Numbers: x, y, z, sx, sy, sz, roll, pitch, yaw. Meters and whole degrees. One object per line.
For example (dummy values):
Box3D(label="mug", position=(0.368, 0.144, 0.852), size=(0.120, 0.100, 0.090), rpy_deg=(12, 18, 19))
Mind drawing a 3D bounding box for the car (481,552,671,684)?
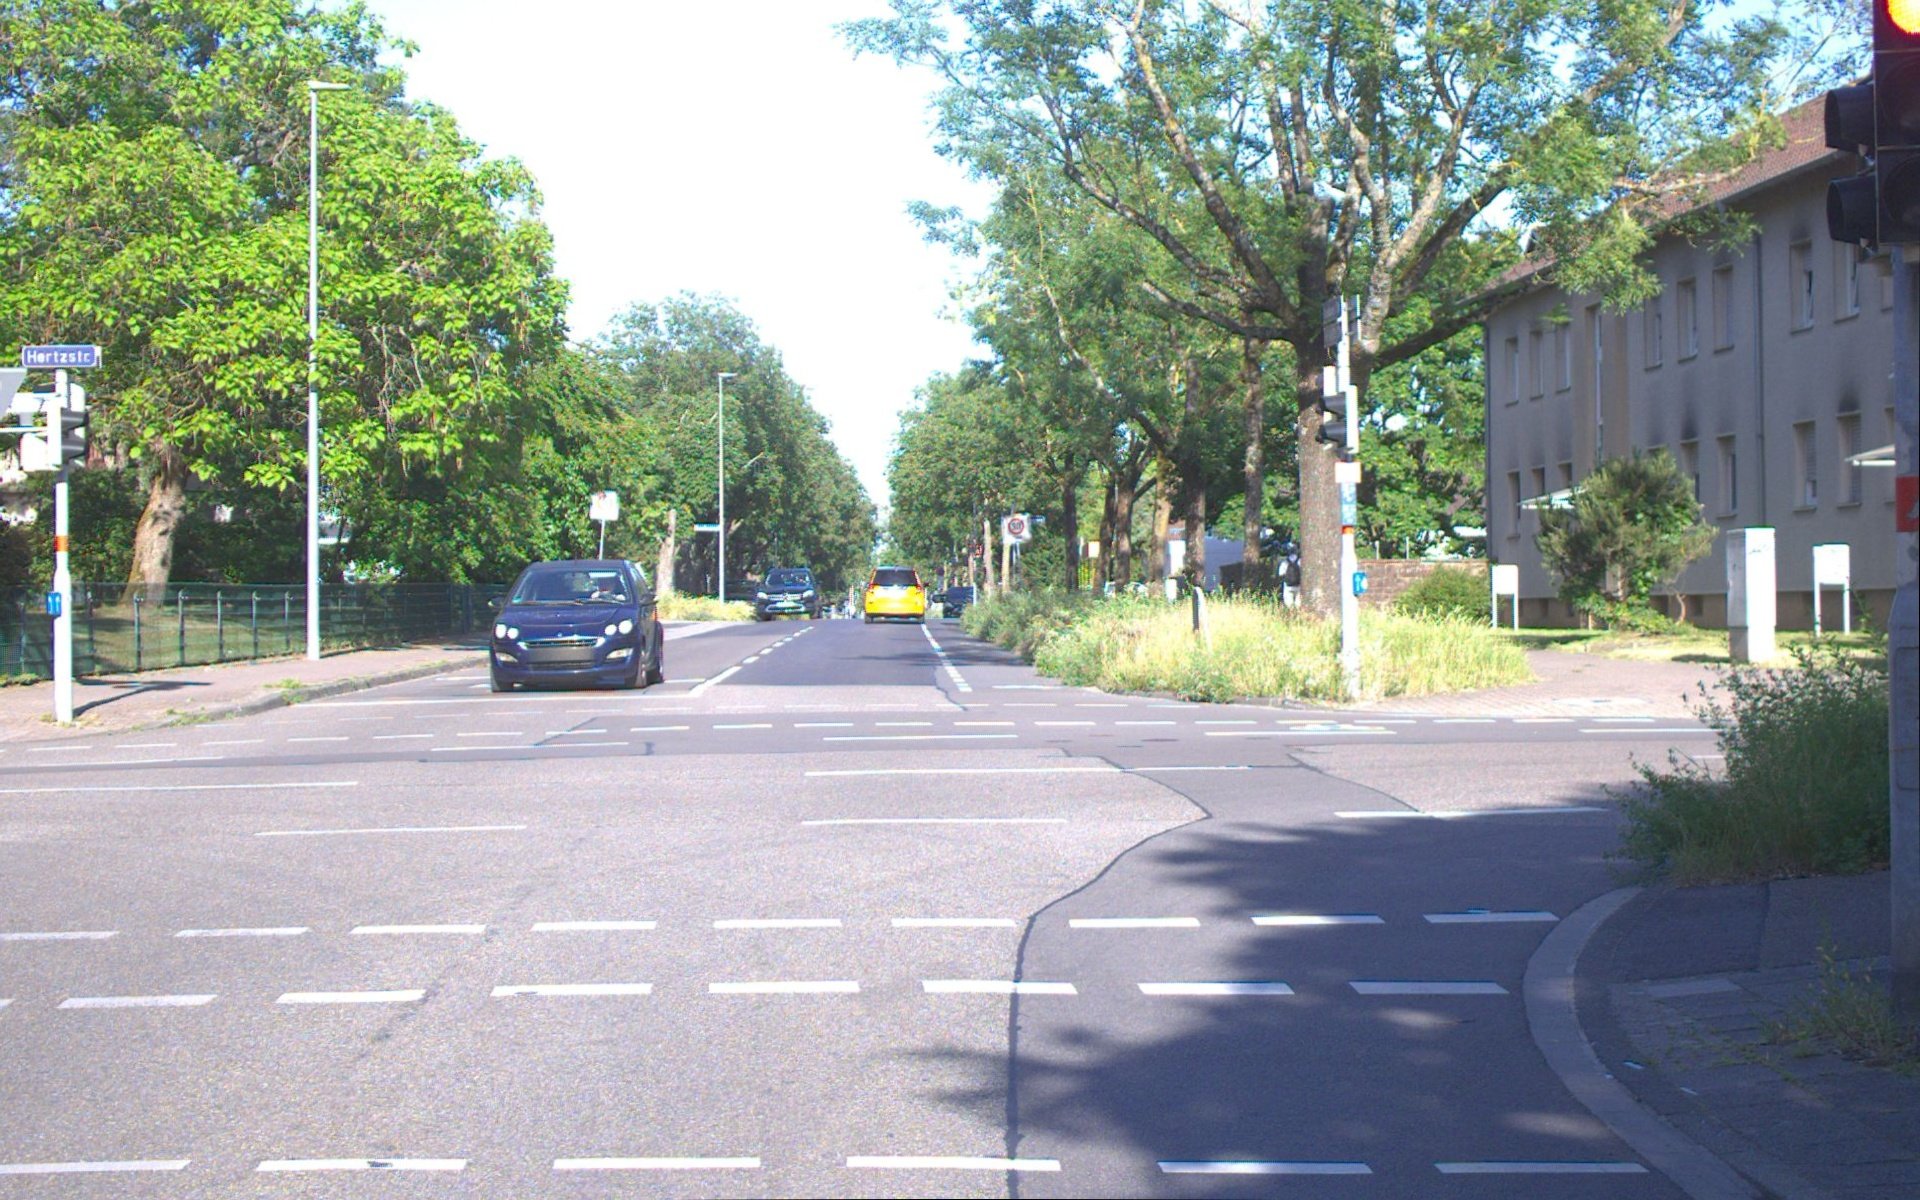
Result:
Box3D(label="car", position=(-4.266, 0.174, 38.628), size=(1.711, 1.381, 3.471), rpy_deg=(0, 1, 0))

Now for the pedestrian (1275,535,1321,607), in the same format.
Box3D(label="pedestrian", position=(7.143, -0.618, 72.700), size=(0.842, 1.488, 0.924), rpy_deg=(2, 1, -1))

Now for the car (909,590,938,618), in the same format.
Box3D(label="car", position=(-2.310, 0.244, 219.252), size=(1.773, 1.748, 4.000), rpy_deg=(1, 0, 0))

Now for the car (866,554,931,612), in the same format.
Box3D(label="car", position=(-1.702, -0.488, 96.579), size=(1.751, 1.577, 4.000), rpy_deg=(1, 0, 0))

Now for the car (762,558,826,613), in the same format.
Box3D(label="car", position=(-5.085, -0.445, 105.557), size=(1.758, 1.619, 3.268), rpy_deg=(0, 1, 0))
